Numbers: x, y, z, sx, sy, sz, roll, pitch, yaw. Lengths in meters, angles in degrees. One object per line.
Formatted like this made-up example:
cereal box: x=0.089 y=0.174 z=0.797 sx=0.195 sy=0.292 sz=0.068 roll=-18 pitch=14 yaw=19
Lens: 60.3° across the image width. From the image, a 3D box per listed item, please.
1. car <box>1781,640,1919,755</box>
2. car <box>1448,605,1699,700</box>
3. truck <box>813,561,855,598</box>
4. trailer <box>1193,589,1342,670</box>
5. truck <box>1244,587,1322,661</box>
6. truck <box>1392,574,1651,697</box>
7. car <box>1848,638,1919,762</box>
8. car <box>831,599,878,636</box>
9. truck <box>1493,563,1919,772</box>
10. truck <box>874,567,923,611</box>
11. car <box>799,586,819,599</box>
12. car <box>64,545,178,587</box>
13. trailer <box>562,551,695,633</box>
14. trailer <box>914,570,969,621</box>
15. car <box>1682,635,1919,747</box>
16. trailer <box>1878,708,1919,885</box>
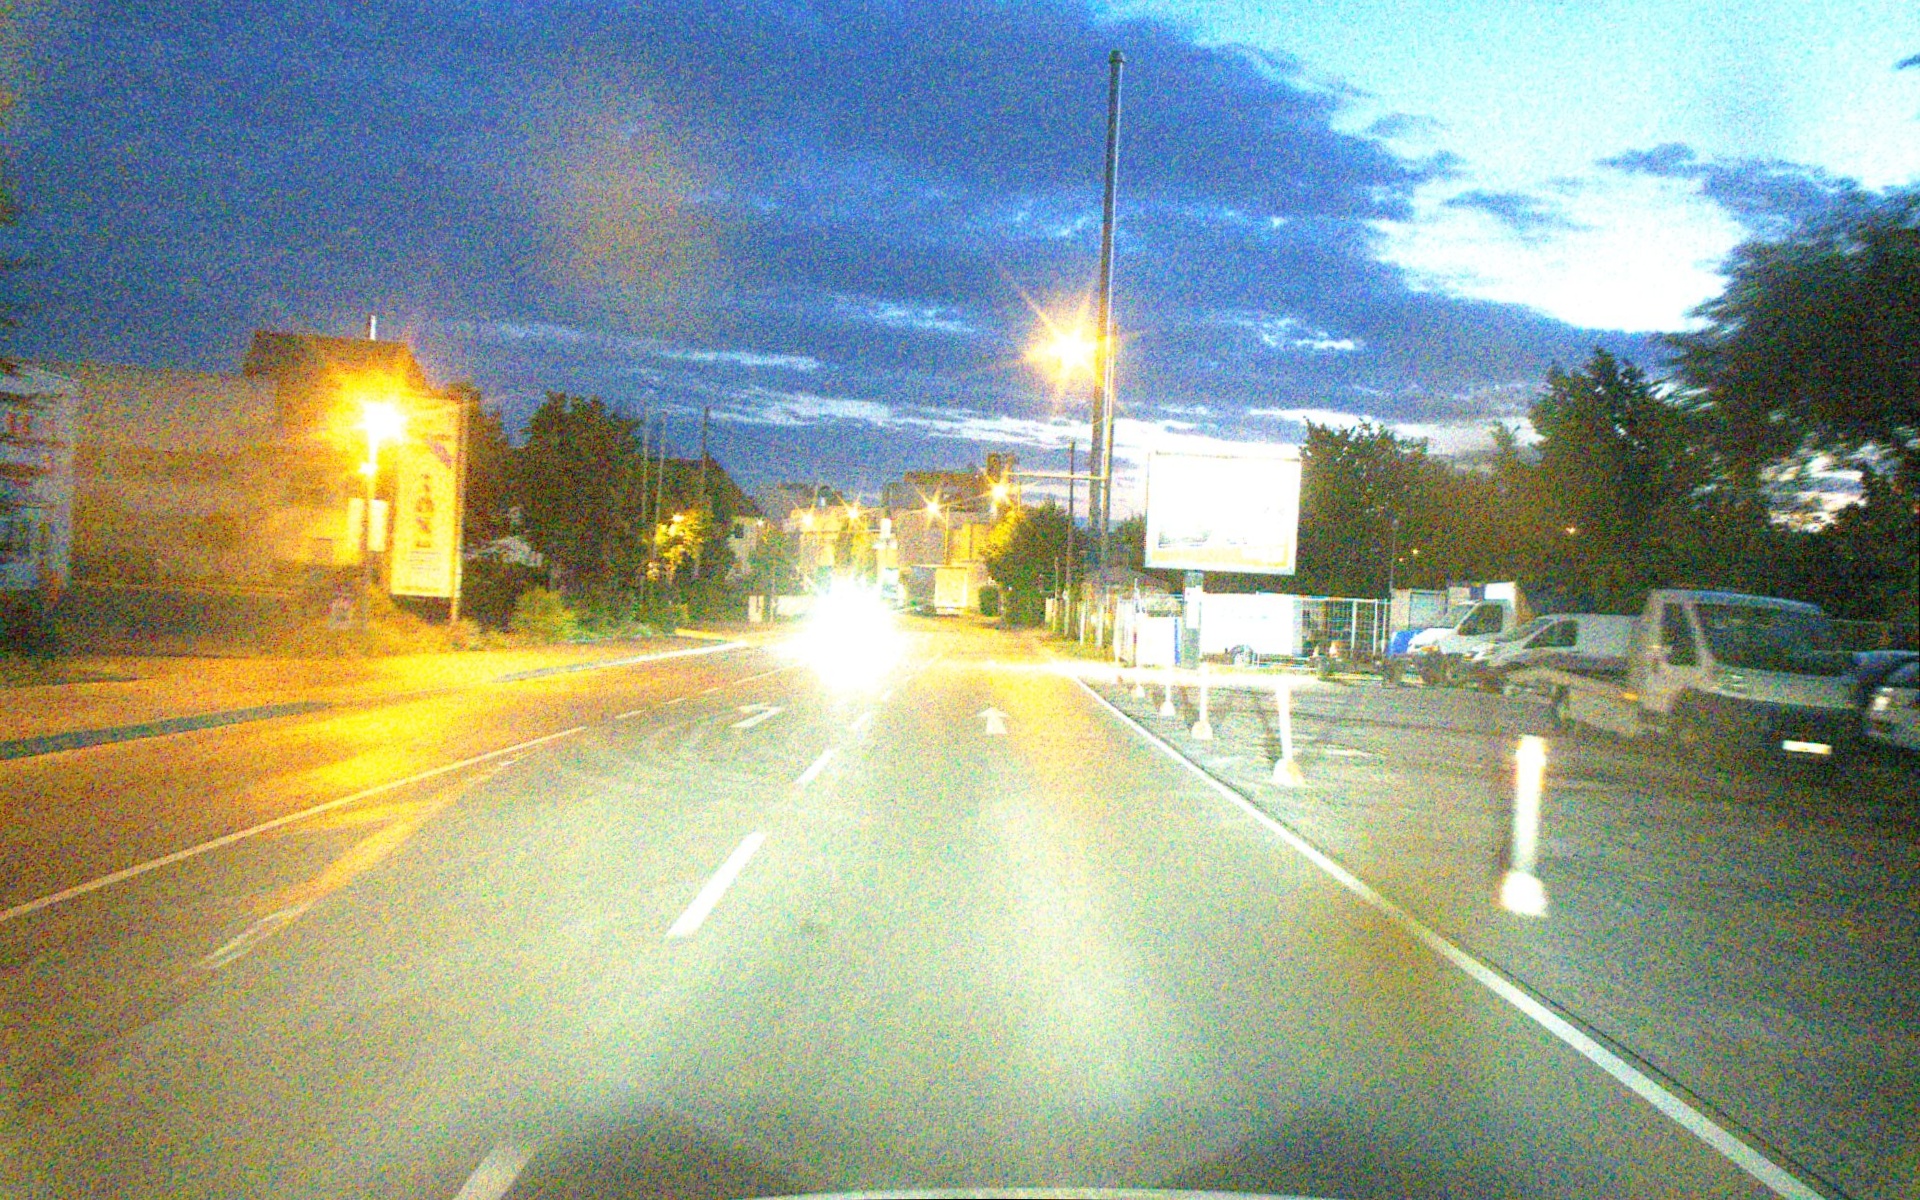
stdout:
car: x=14.824 y=1.509 z=25.069 sx=3.776 sy=1.588 sz=1.902 roll=3 pitch=0 yaw=2
car: x=13.983 y=1.171 z=37.914 sx=4.968 sy=1.868 sz=1.990 roll=3 pitch=0 yaw=3
truck: x=-14.562 y=-2.376 z=190.430 sx=3.458 sy=4.052 sz=10.312 roll=1 pitch=1 yaw=-12
trailer: x=8.351 y=0.772 z=44.983 sx=3.672 sy=2.049 sz=1.613 roll=2 pitch=0 yaw=25
truck: x=13.287 y=0.958 z=68.467 sx=2.138 sy=2.796 sz=7.319 roll=3 pitch=0 yaw=4
truck: x=13.654 y=0.840 z=40.506 sx=5.418 sy=2.645 sz=2.472 roll=3 pitch=0 yaw=-1
car: x=14.792 y=1.454 z=23.156 sx=3.778 sy=1.632 sz=1.708 roll=3 pitch=0 yaw=-2
car: x=-5.184 y=0.836 z=81.503 sx=1.953 sy=1.655 sz=4.752 roll=3 pitch=0 yaw=0
truck: x=9.968 y=0.799 z=23.183 sx=2.329 sy=2.323 sz=7.743 roll=3 pitch=0 yaw=-1
truck: x=-5.926 y=-1.081 z=158.098 sx=2.781 sy=4.052 sz=10.309 roll=1 pitch=1 yaw=-13
car: x=-18.736 y=-0.956 z=205.147 sx=1.822 sy=1.545 sz=3.803 roll=1 pitch=1 yaw=-15
car: x=-38.423 y=-1.547 z=75.855 sx=4.262 sy=1.617 sz=1.904 roll=4 pitch=0 yaw=-15
trailer: x=-11.758 y=-0.288 z=58.847 sx=4.259 sy=2.767 sz=2.000 roll=1 pitch=0 yaw=0
trailer: x=-1.677 y=-0.448 z=141.205 sx=2.756 sy=4.052 sz=13.948 roll=1 pitch=1 yaw=-8
car: x=14.355 y=1.513 z=27.670 sx=3.778 sy=1.624 sz=1.708 roll=3 pitch=0 yaw=-2
trailer: x=6.448 y=1.245 z=5.104 sx=2.129 sy=0.983 sz=9.618 roll=4 pitch=0 yaw=2
